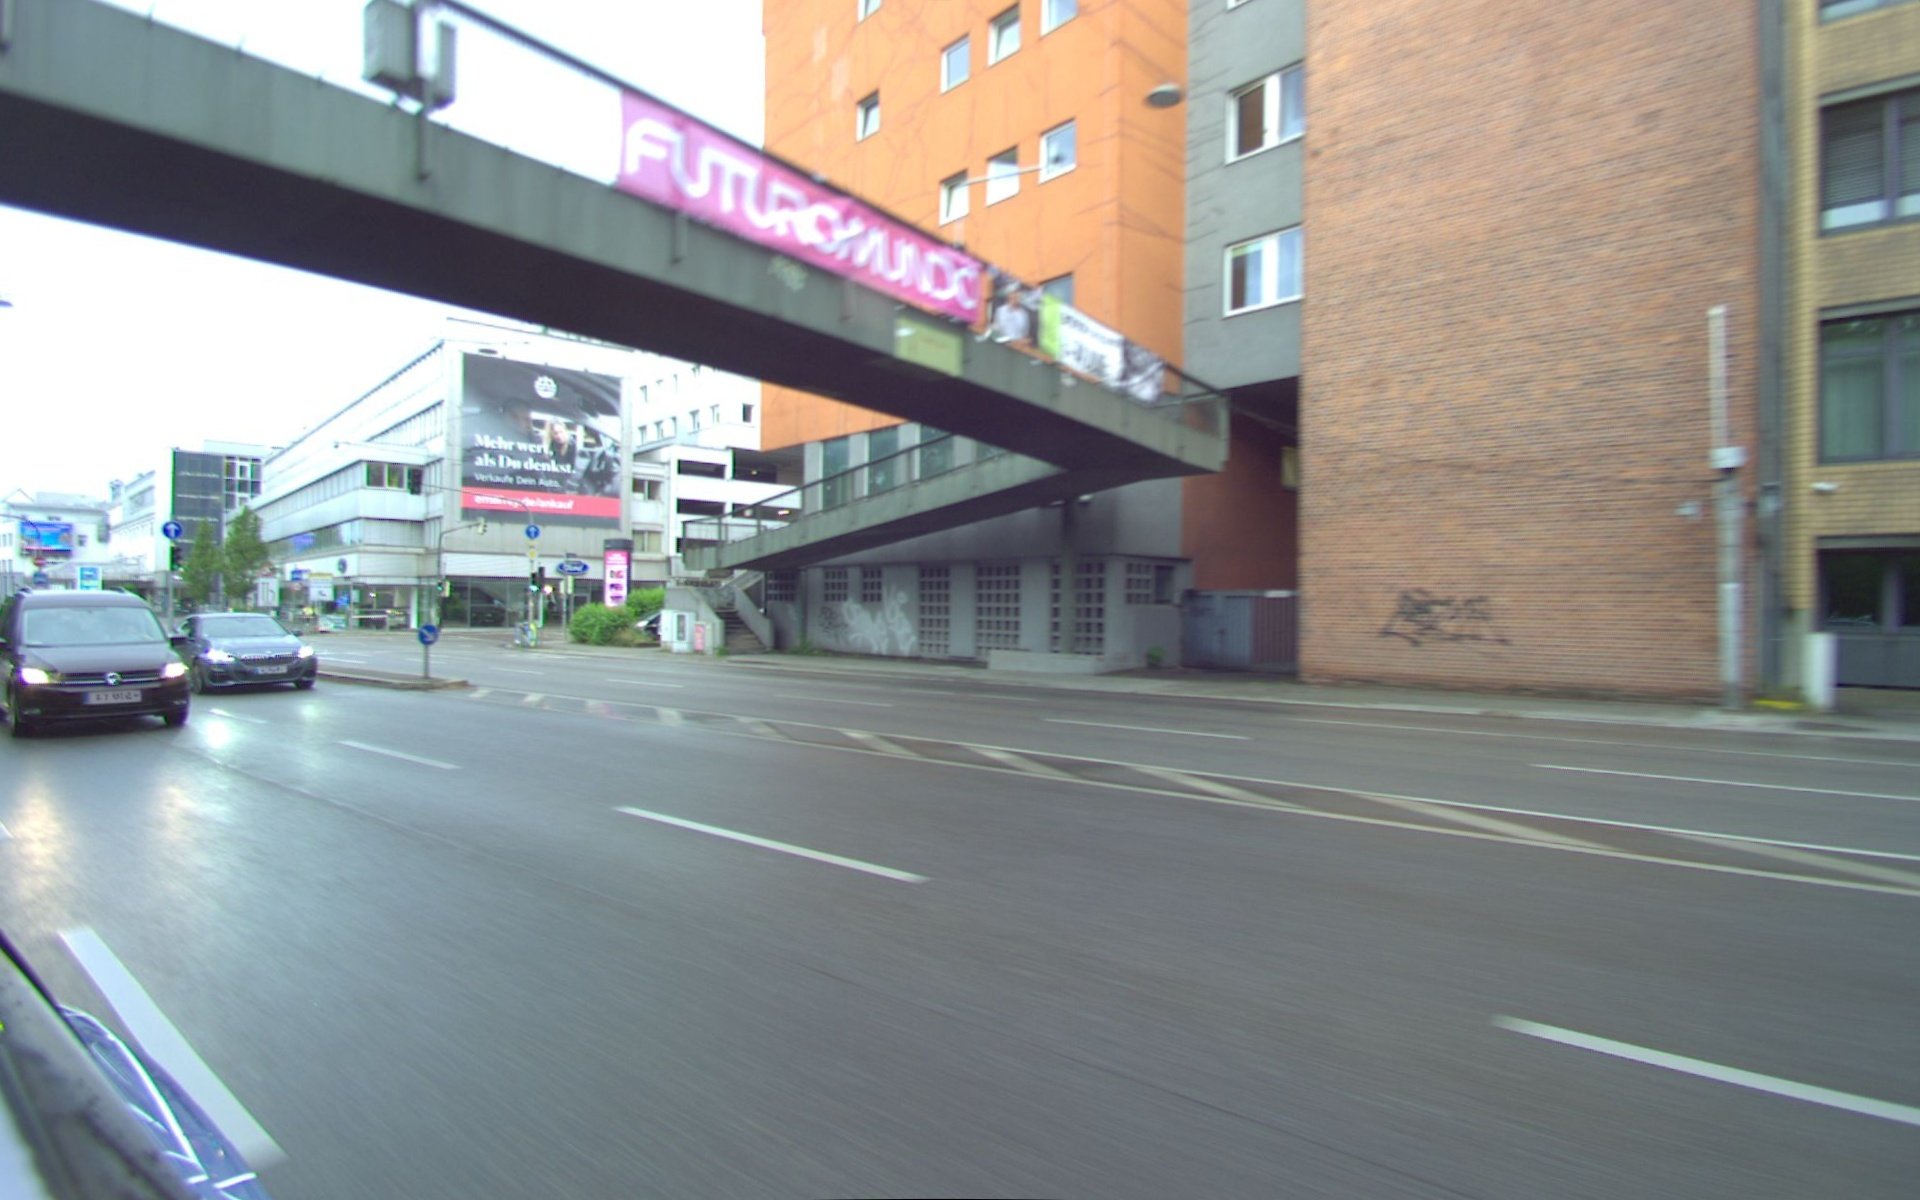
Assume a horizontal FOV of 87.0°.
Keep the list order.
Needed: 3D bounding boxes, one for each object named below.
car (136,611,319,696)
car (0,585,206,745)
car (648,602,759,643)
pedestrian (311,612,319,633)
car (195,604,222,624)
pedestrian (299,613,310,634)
[{"bbox_3d":[-14.047,1.000,19.306,4.533,1.426,1.649,-3,-2,38],"label":"car"},{"bbox_3d":[-11.684,0.759,13.465,3.998,1.804,1.818,-1,0,41],"label":"car"},{"bbox_3d":[-11.005,0.952,43.610,4.242,1.637,1.937,-1,0,-44],"label":"car"},{"bbox_3d":[-48.063,1.652,75.427,0.431,1.542,0.514,0,-1,-43],"label":"pedestrian"},{"bbox_3d":[-73.862,1.397,99.494,1.856,1.881,4.006,-1,0,-40],"label":"car"},{"bbox_3d":[-48.582,1.702,75.016,0.567,1.542,0.454,0,-1,-44],"label":"pedestrian"}]
